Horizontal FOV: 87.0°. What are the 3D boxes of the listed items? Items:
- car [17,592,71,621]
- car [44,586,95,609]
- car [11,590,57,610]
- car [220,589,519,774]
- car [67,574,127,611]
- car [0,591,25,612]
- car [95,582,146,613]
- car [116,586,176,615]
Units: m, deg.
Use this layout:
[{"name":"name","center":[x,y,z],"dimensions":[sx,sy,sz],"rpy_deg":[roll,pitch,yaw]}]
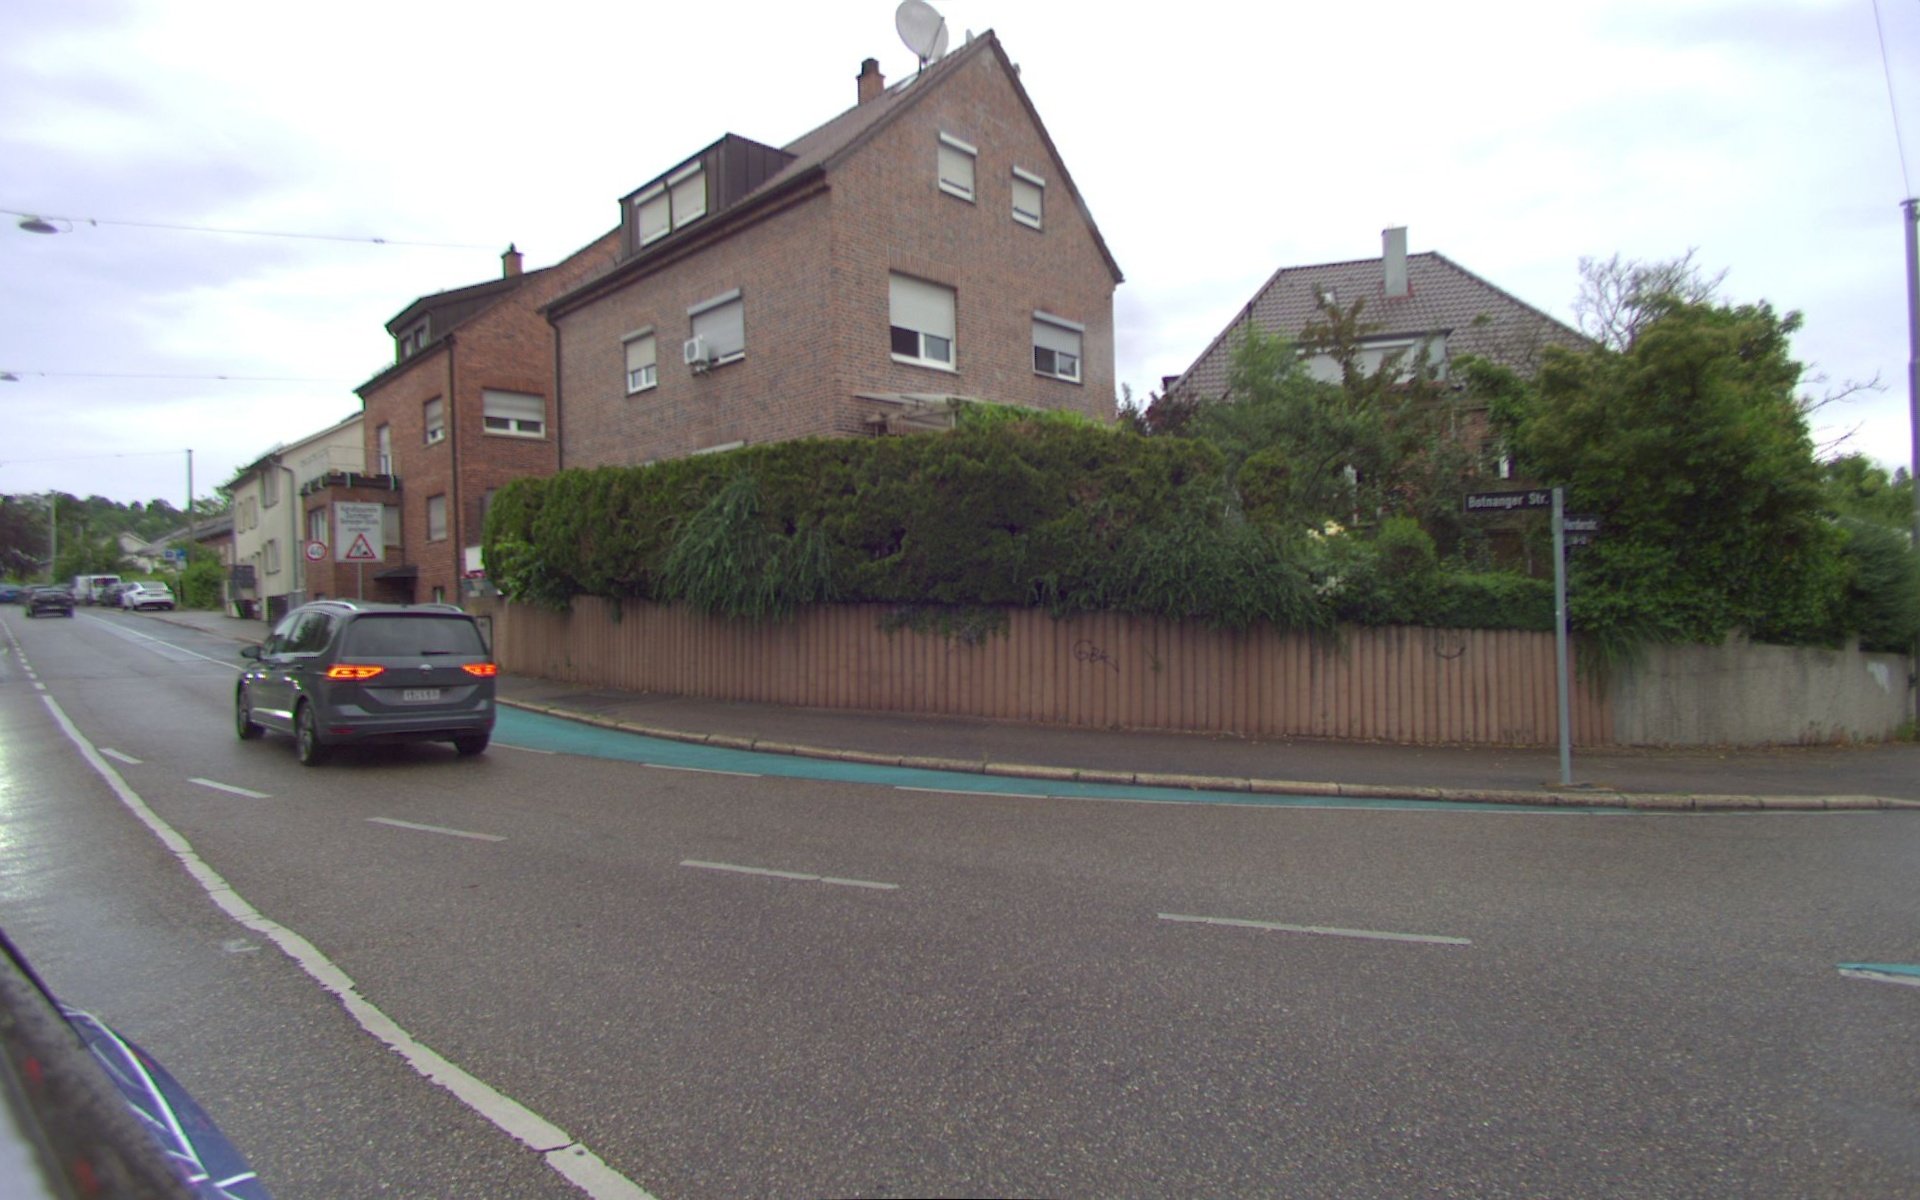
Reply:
[{"name":"car","center":[-48.599,0.330,53.690],"dimensions":[3.719,1.457,1.894],"rpy_deg":[0,0,44]},{"name":"car","center":[-61.707,-0.162,70.111],"dimensions":[4.000,1.501,1.636],"rpy_deg":[-1,2,34]},{"name":"car","center":[-66.818,0.015,72.990],"dimensions":[3.853,1.407,1.635],"rpy_deg":[0,2,36]},{"name":"car","center":[-6.798,0.762,11.451],"dimensions":[4.174,1.693,1.828],"rpy_deg":[1,-1,44]},{"name":"car","center":[-57.247,-0.488,67.101],"dimensions":[4.543,2.303,2.229],"rpy_deg":[0,2,40]},{"name":"car","center":[-71.598,0.110,75.735],"dimensions":[3.894,1.501,1.606],"rpy_deg":[0,2,36]},{"name":"car","center":[-52.545,-0.169,63.313],"dimensions":[4.261,1.817,1.791],"rpy_deg":[0,2,41]},{"name":"car","center":[-46.517,0.014,57.809],"dimensions":[4.261,1.577,1.921],"rpy_deg":[0,2,41]}]
